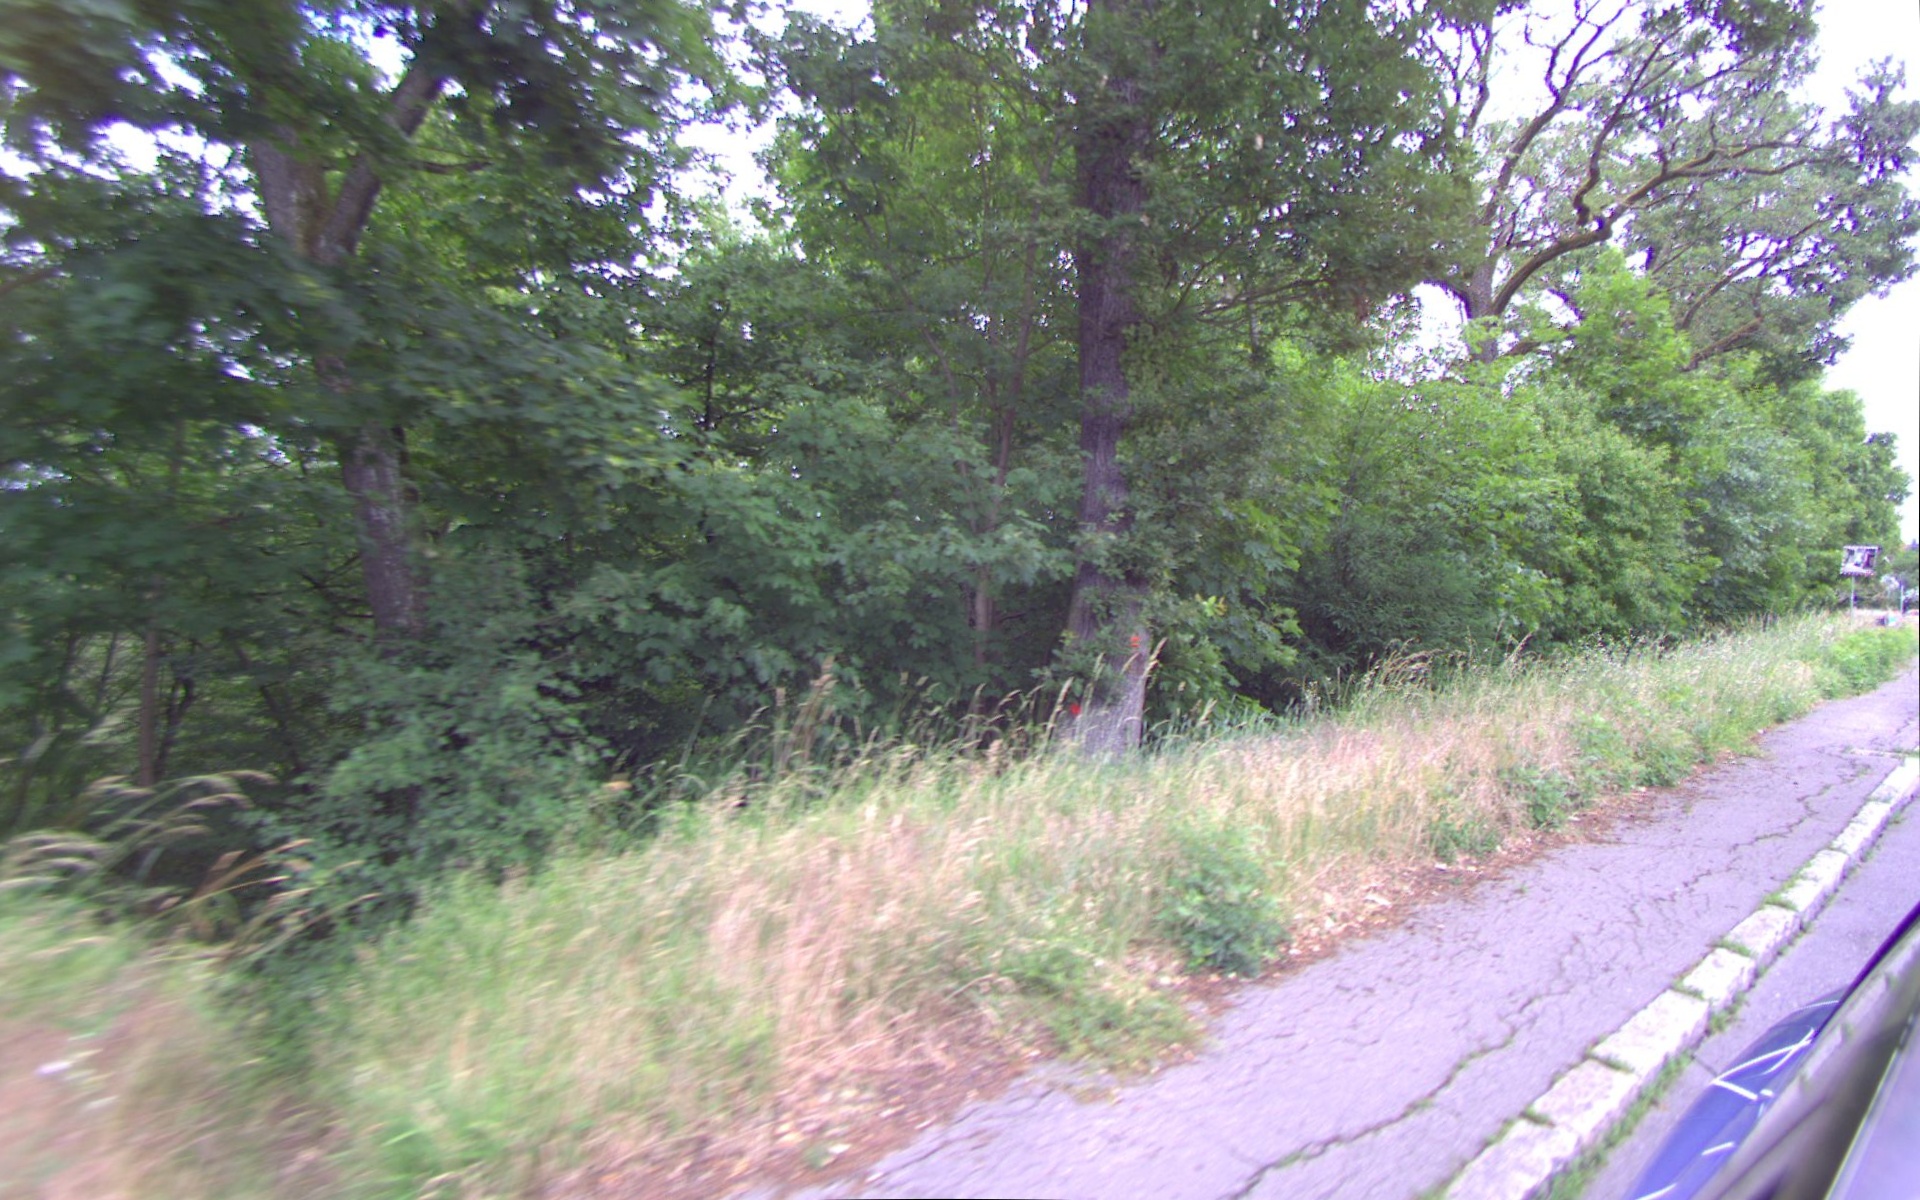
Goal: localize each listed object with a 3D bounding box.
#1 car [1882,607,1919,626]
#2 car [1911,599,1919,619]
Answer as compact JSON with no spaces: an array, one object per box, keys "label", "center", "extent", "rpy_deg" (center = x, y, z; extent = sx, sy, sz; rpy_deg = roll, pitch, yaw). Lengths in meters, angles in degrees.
[{"label":"car","center":[90.089,1.561,96.729],"extent":[1.983,1.709,4.661],"rpy_deg":[1,1,30]},{"label":"car","center":[86.077,0.784,89.785],"extent":[1.786,1.709,3.461],"rpy_deg":[1,0,31]}]
